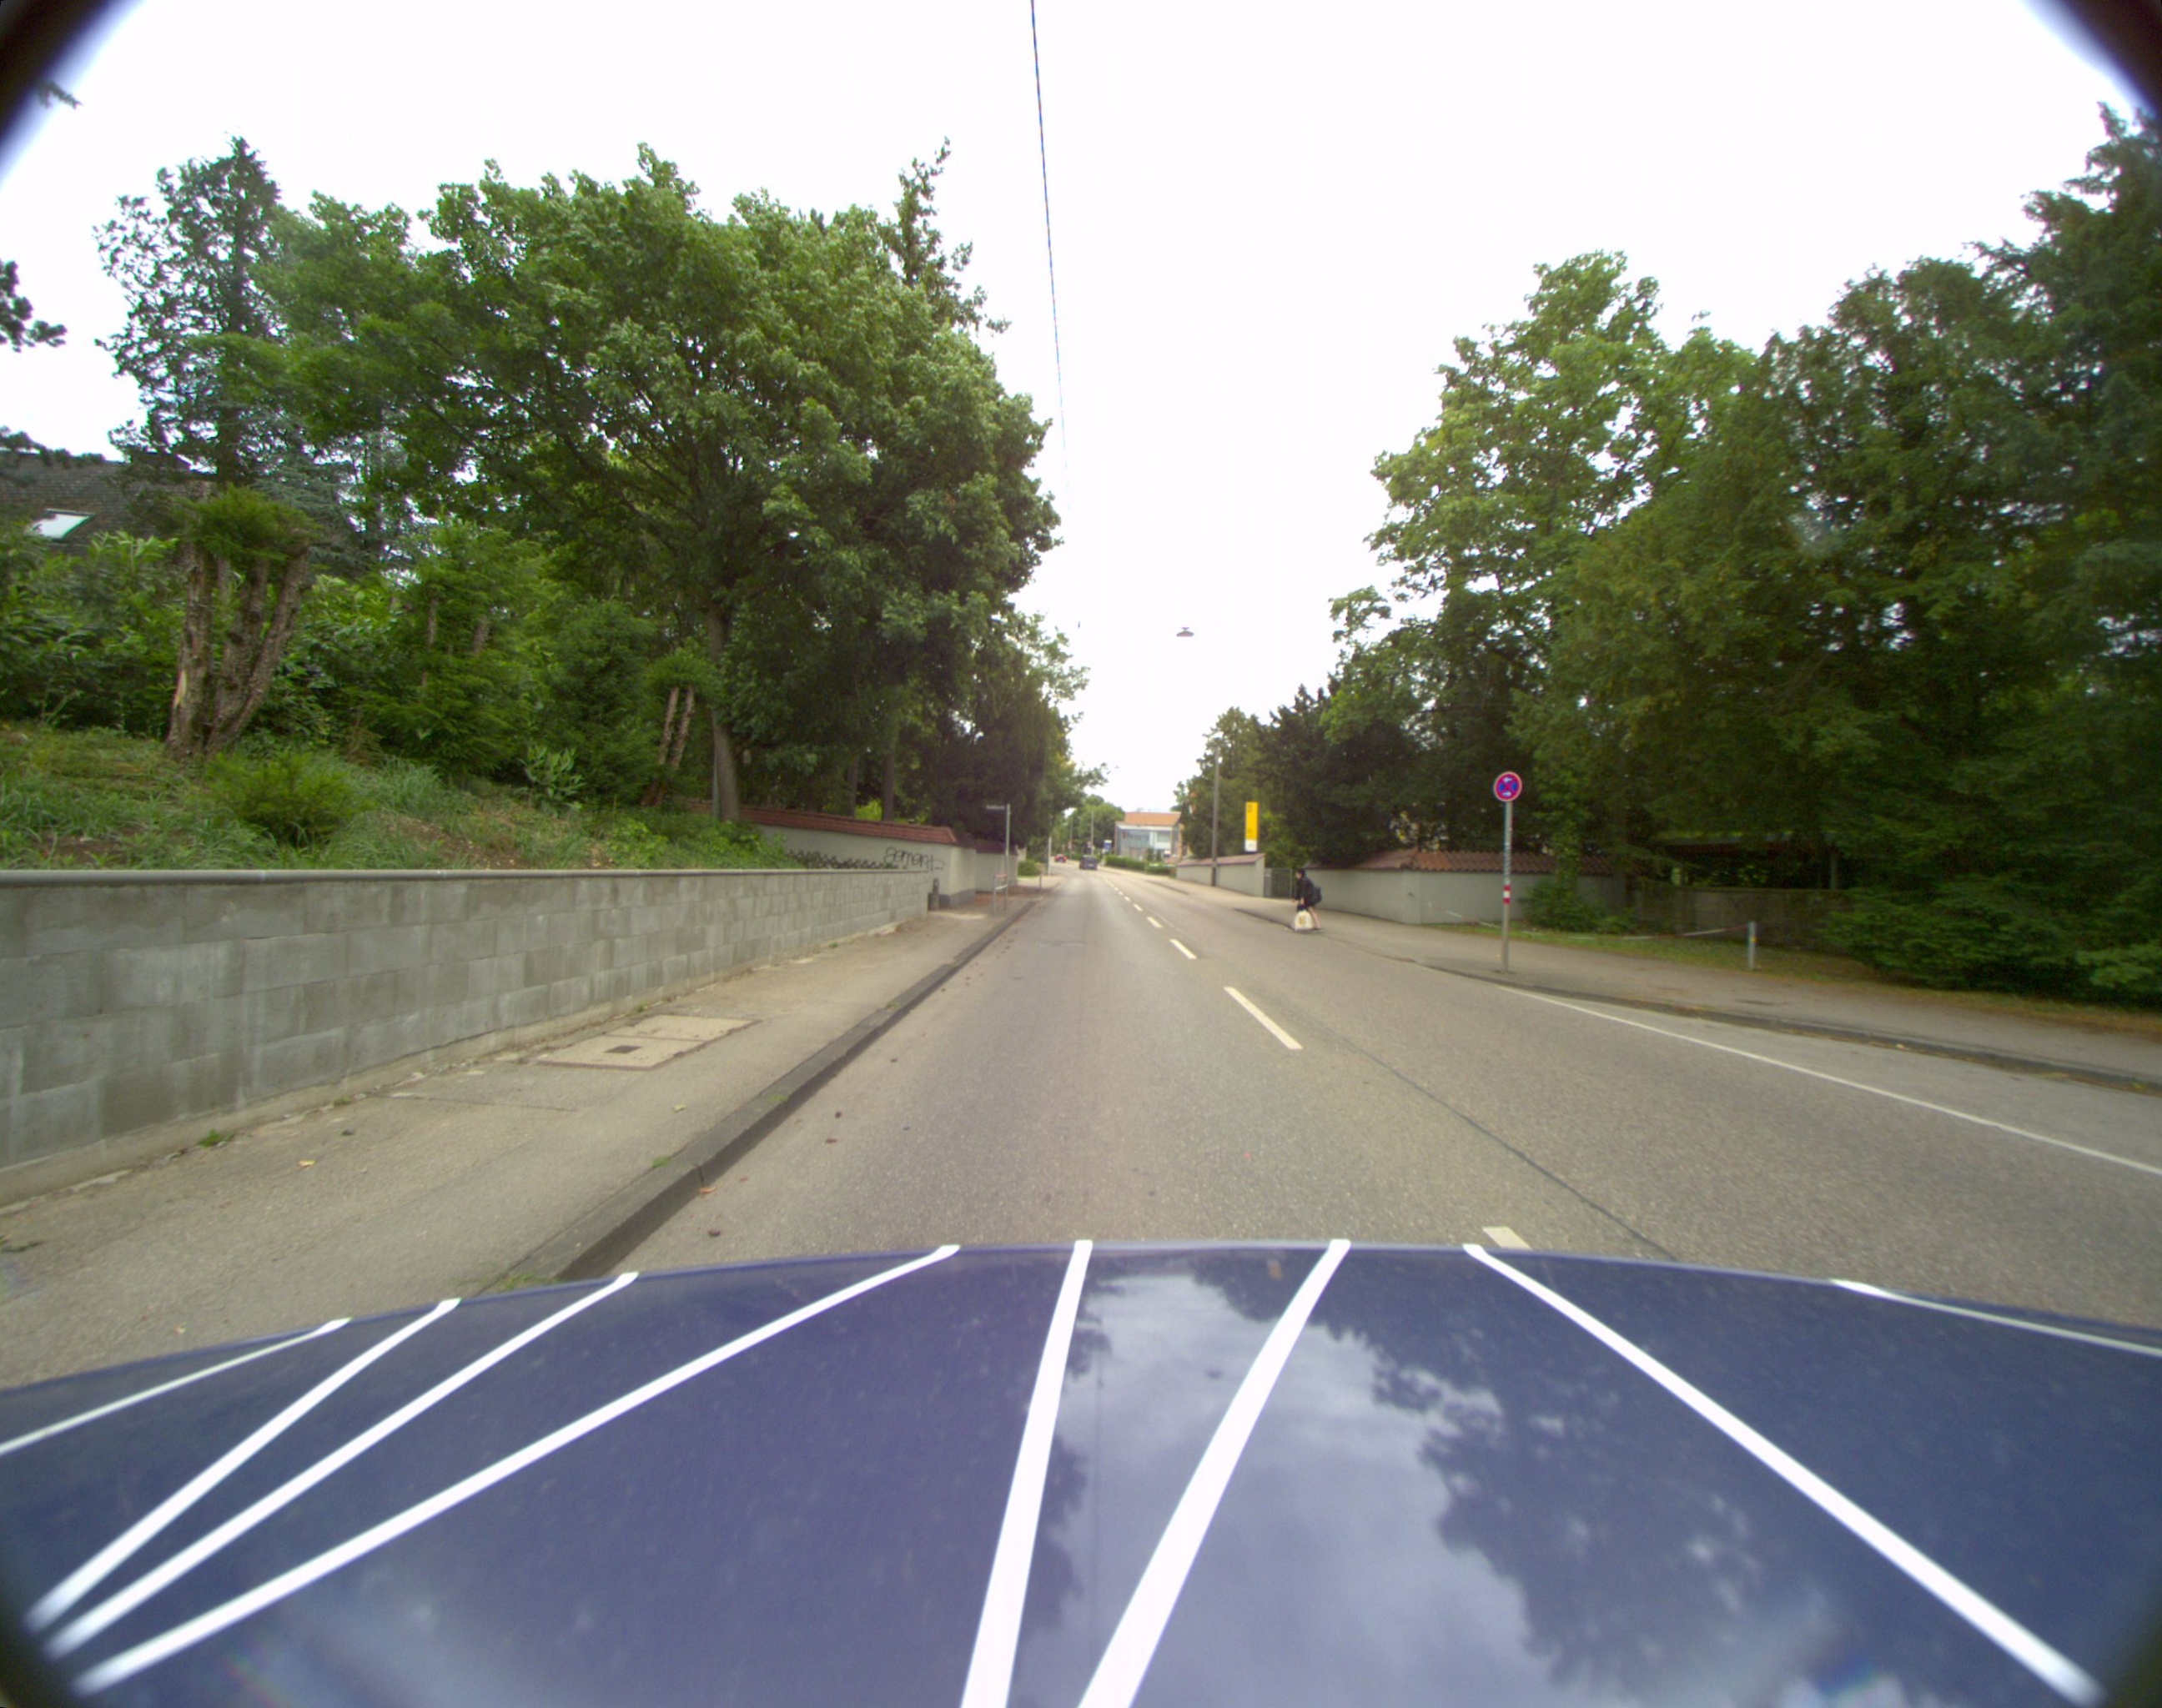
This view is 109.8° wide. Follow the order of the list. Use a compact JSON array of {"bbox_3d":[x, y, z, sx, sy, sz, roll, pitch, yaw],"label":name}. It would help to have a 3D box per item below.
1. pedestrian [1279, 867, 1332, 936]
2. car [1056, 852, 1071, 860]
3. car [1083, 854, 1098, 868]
[{"bbox_3d":[5.348,1.105,18.082,0.900,1.551,0.930,2,2,41],"label":"pedestrian"},{"bbox_3d":[-3.235,0.331,138.131,1.792,1.420,3.994,2,0,-14],"label":"car"},{"bbox_3d":[1.270,0.944,101.382,1.895,1.845,5.082,1,0,0],"label":"car"}]
